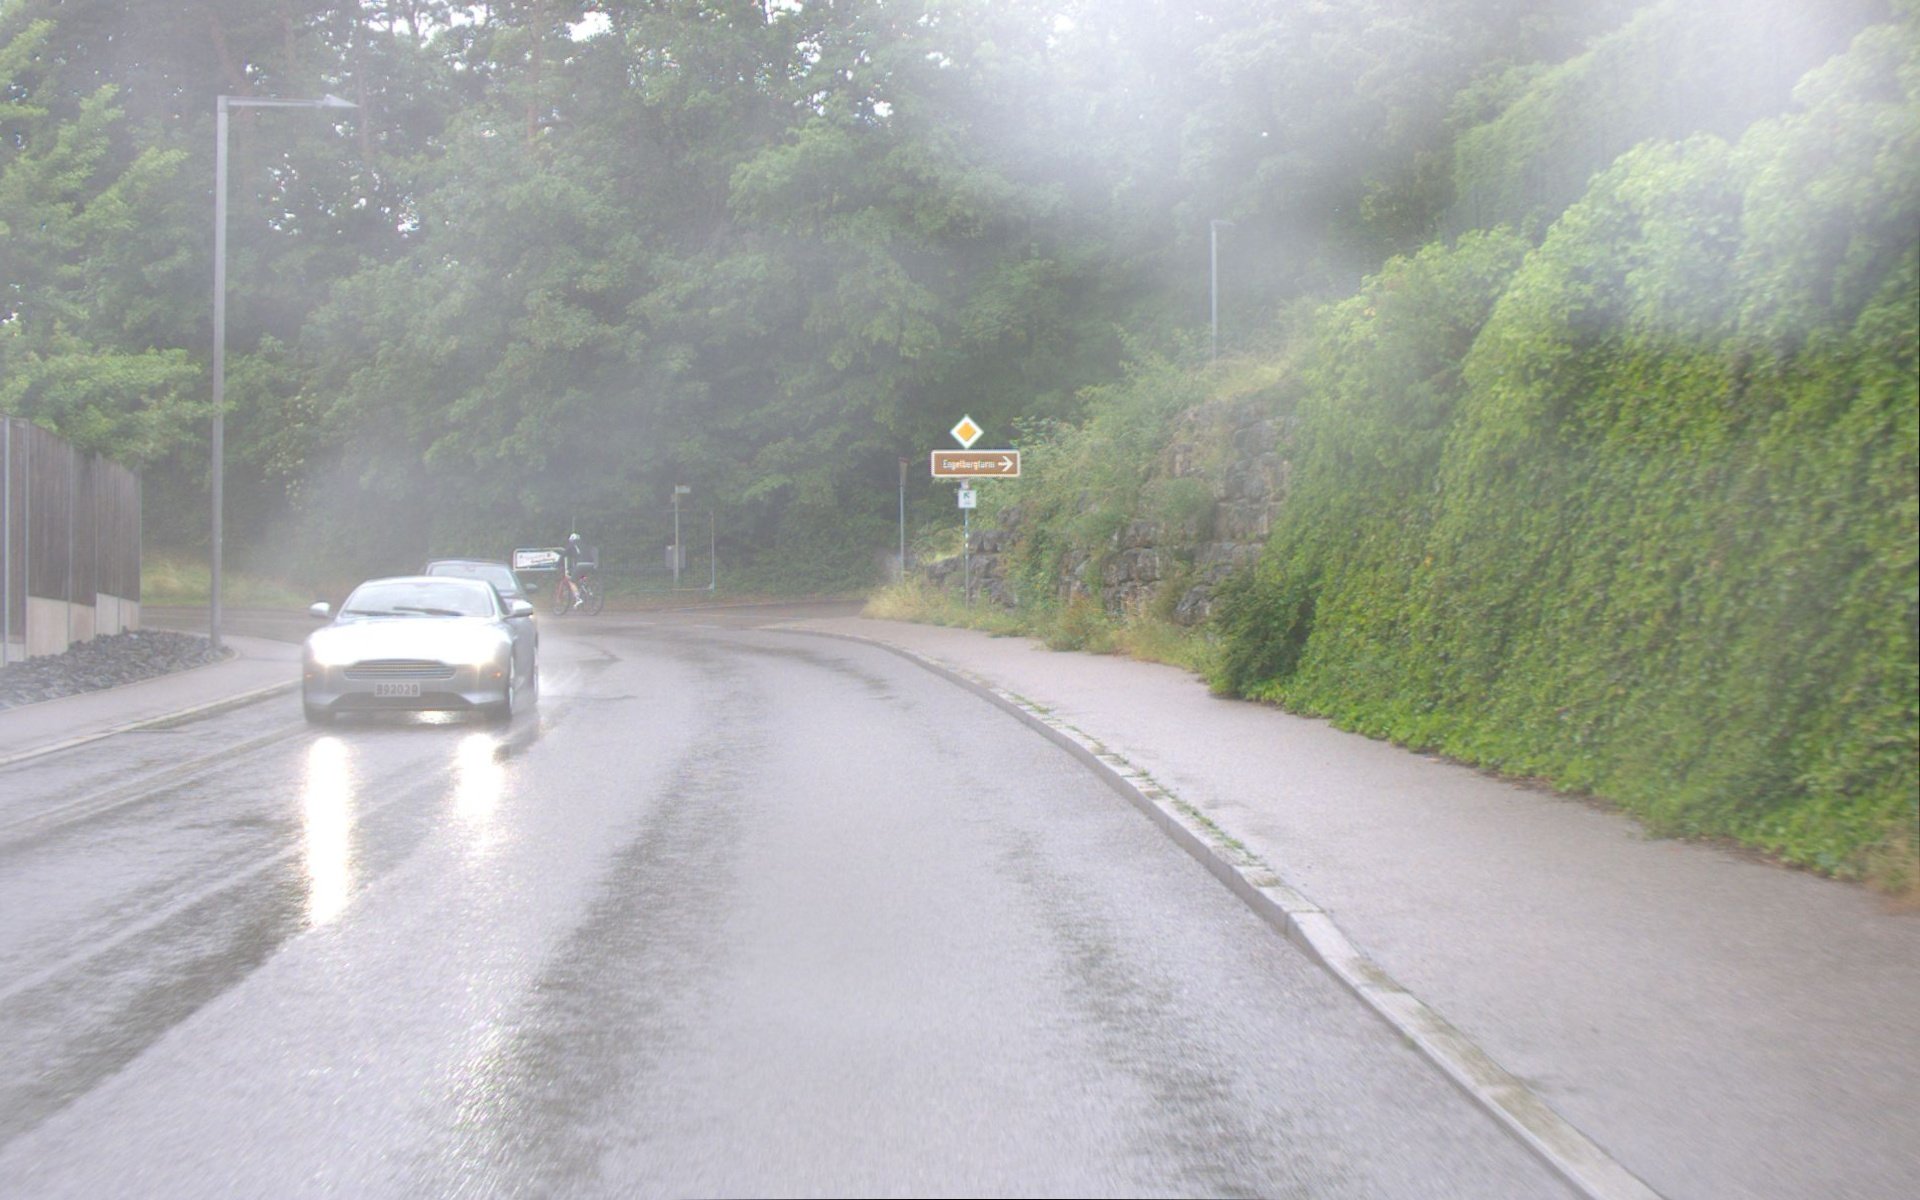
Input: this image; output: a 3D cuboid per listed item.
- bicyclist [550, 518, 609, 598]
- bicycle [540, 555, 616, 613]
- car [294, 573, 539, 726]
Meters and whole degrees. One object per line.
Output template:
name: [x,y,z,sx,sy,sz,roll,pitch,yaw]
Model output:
bicyclist: [-8.065,-0.898,72.888,0.904,1.609,0.721,6,5,32]
bicycle: [-8.086,-0.347,72.809,1.619,1.081,0.528,6,5,35]
car: [-4.941,0.411,31.714,1.881,1.279,4.210,0,1,-4]
